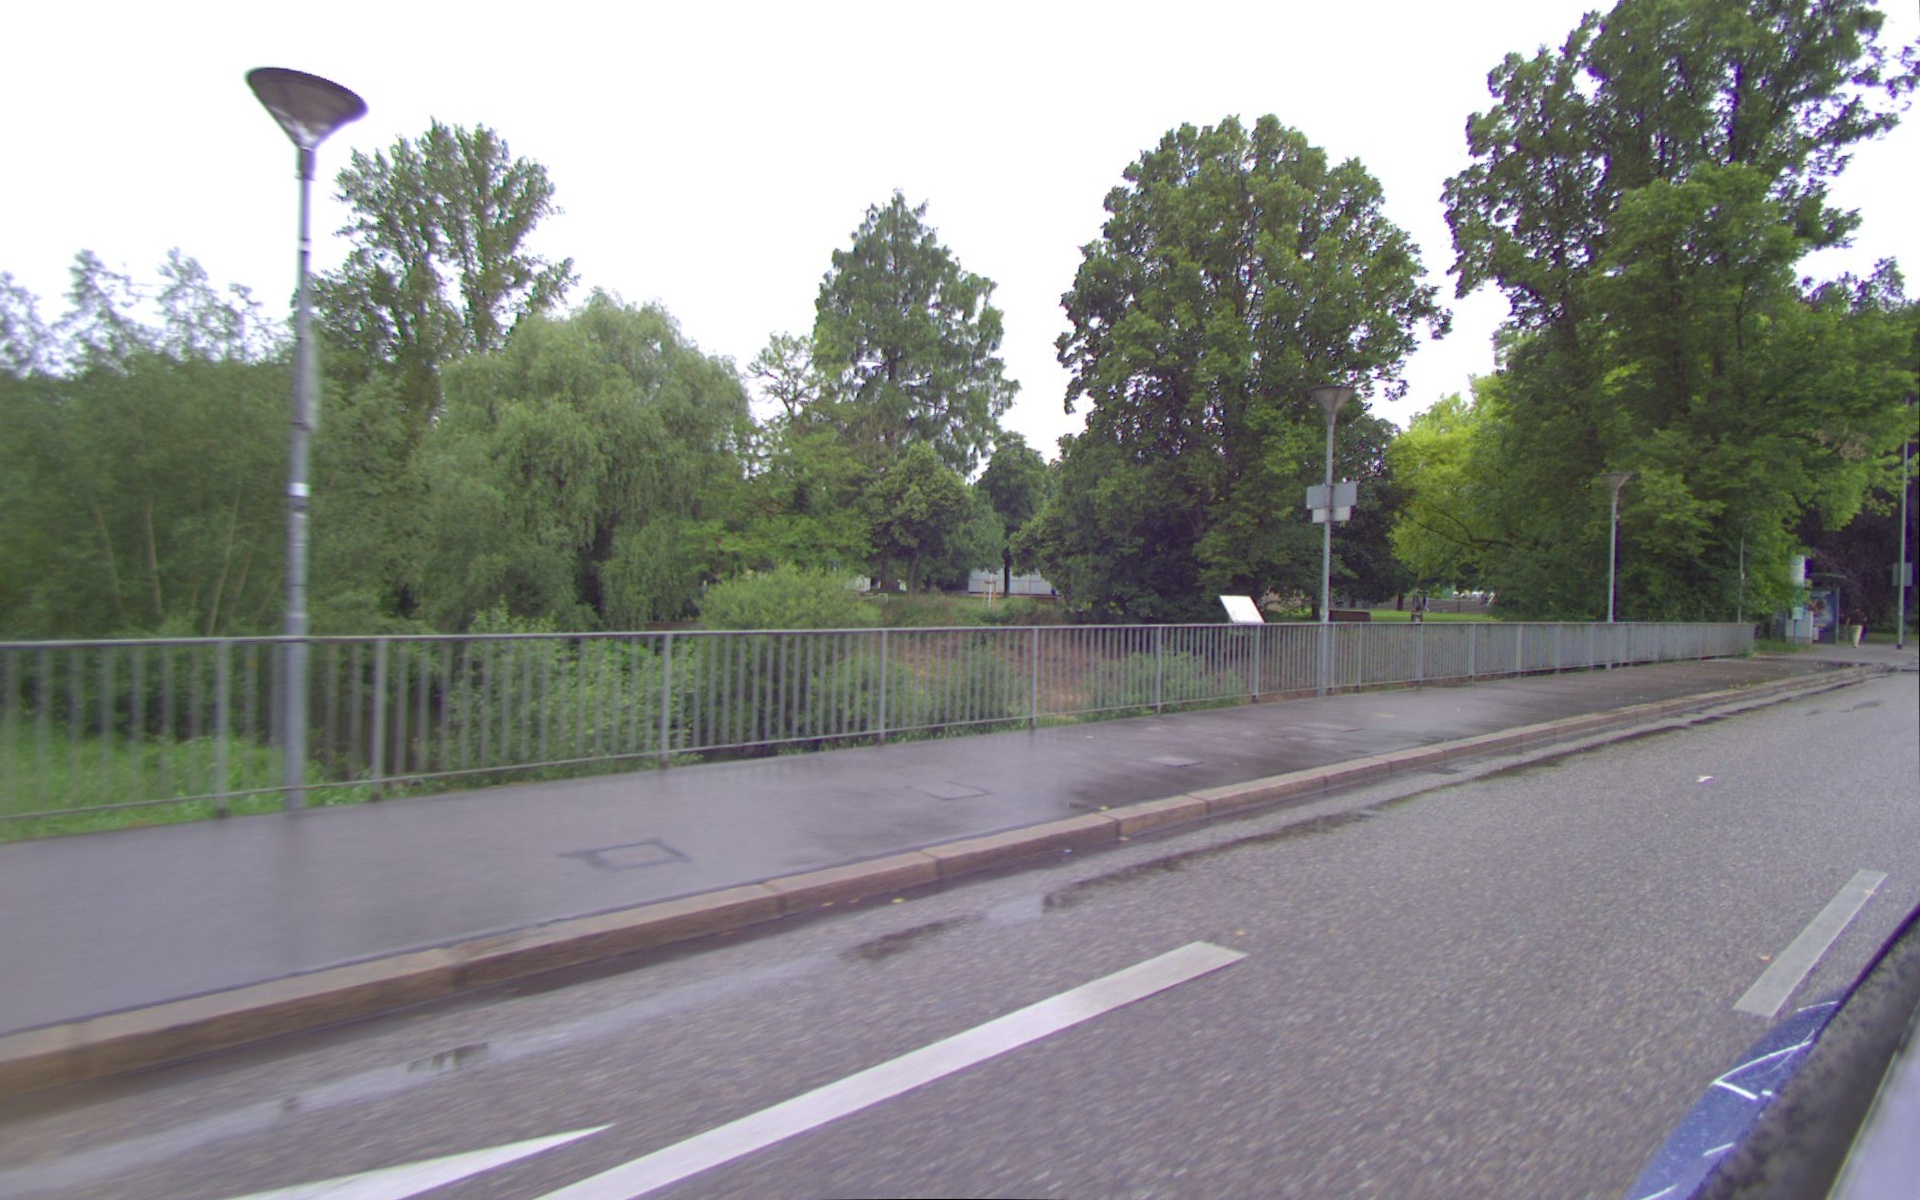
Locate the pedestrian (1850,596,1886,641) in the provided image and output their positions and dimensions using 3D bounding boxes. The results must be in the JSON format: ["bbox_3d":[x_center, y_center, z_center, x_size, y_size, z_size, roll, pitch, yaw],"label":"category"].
[{"bbox_3d":[35.771,0.725,39.856,1.147,1.696,0.849,0,3,-41],"label":"pedestrian"}]
